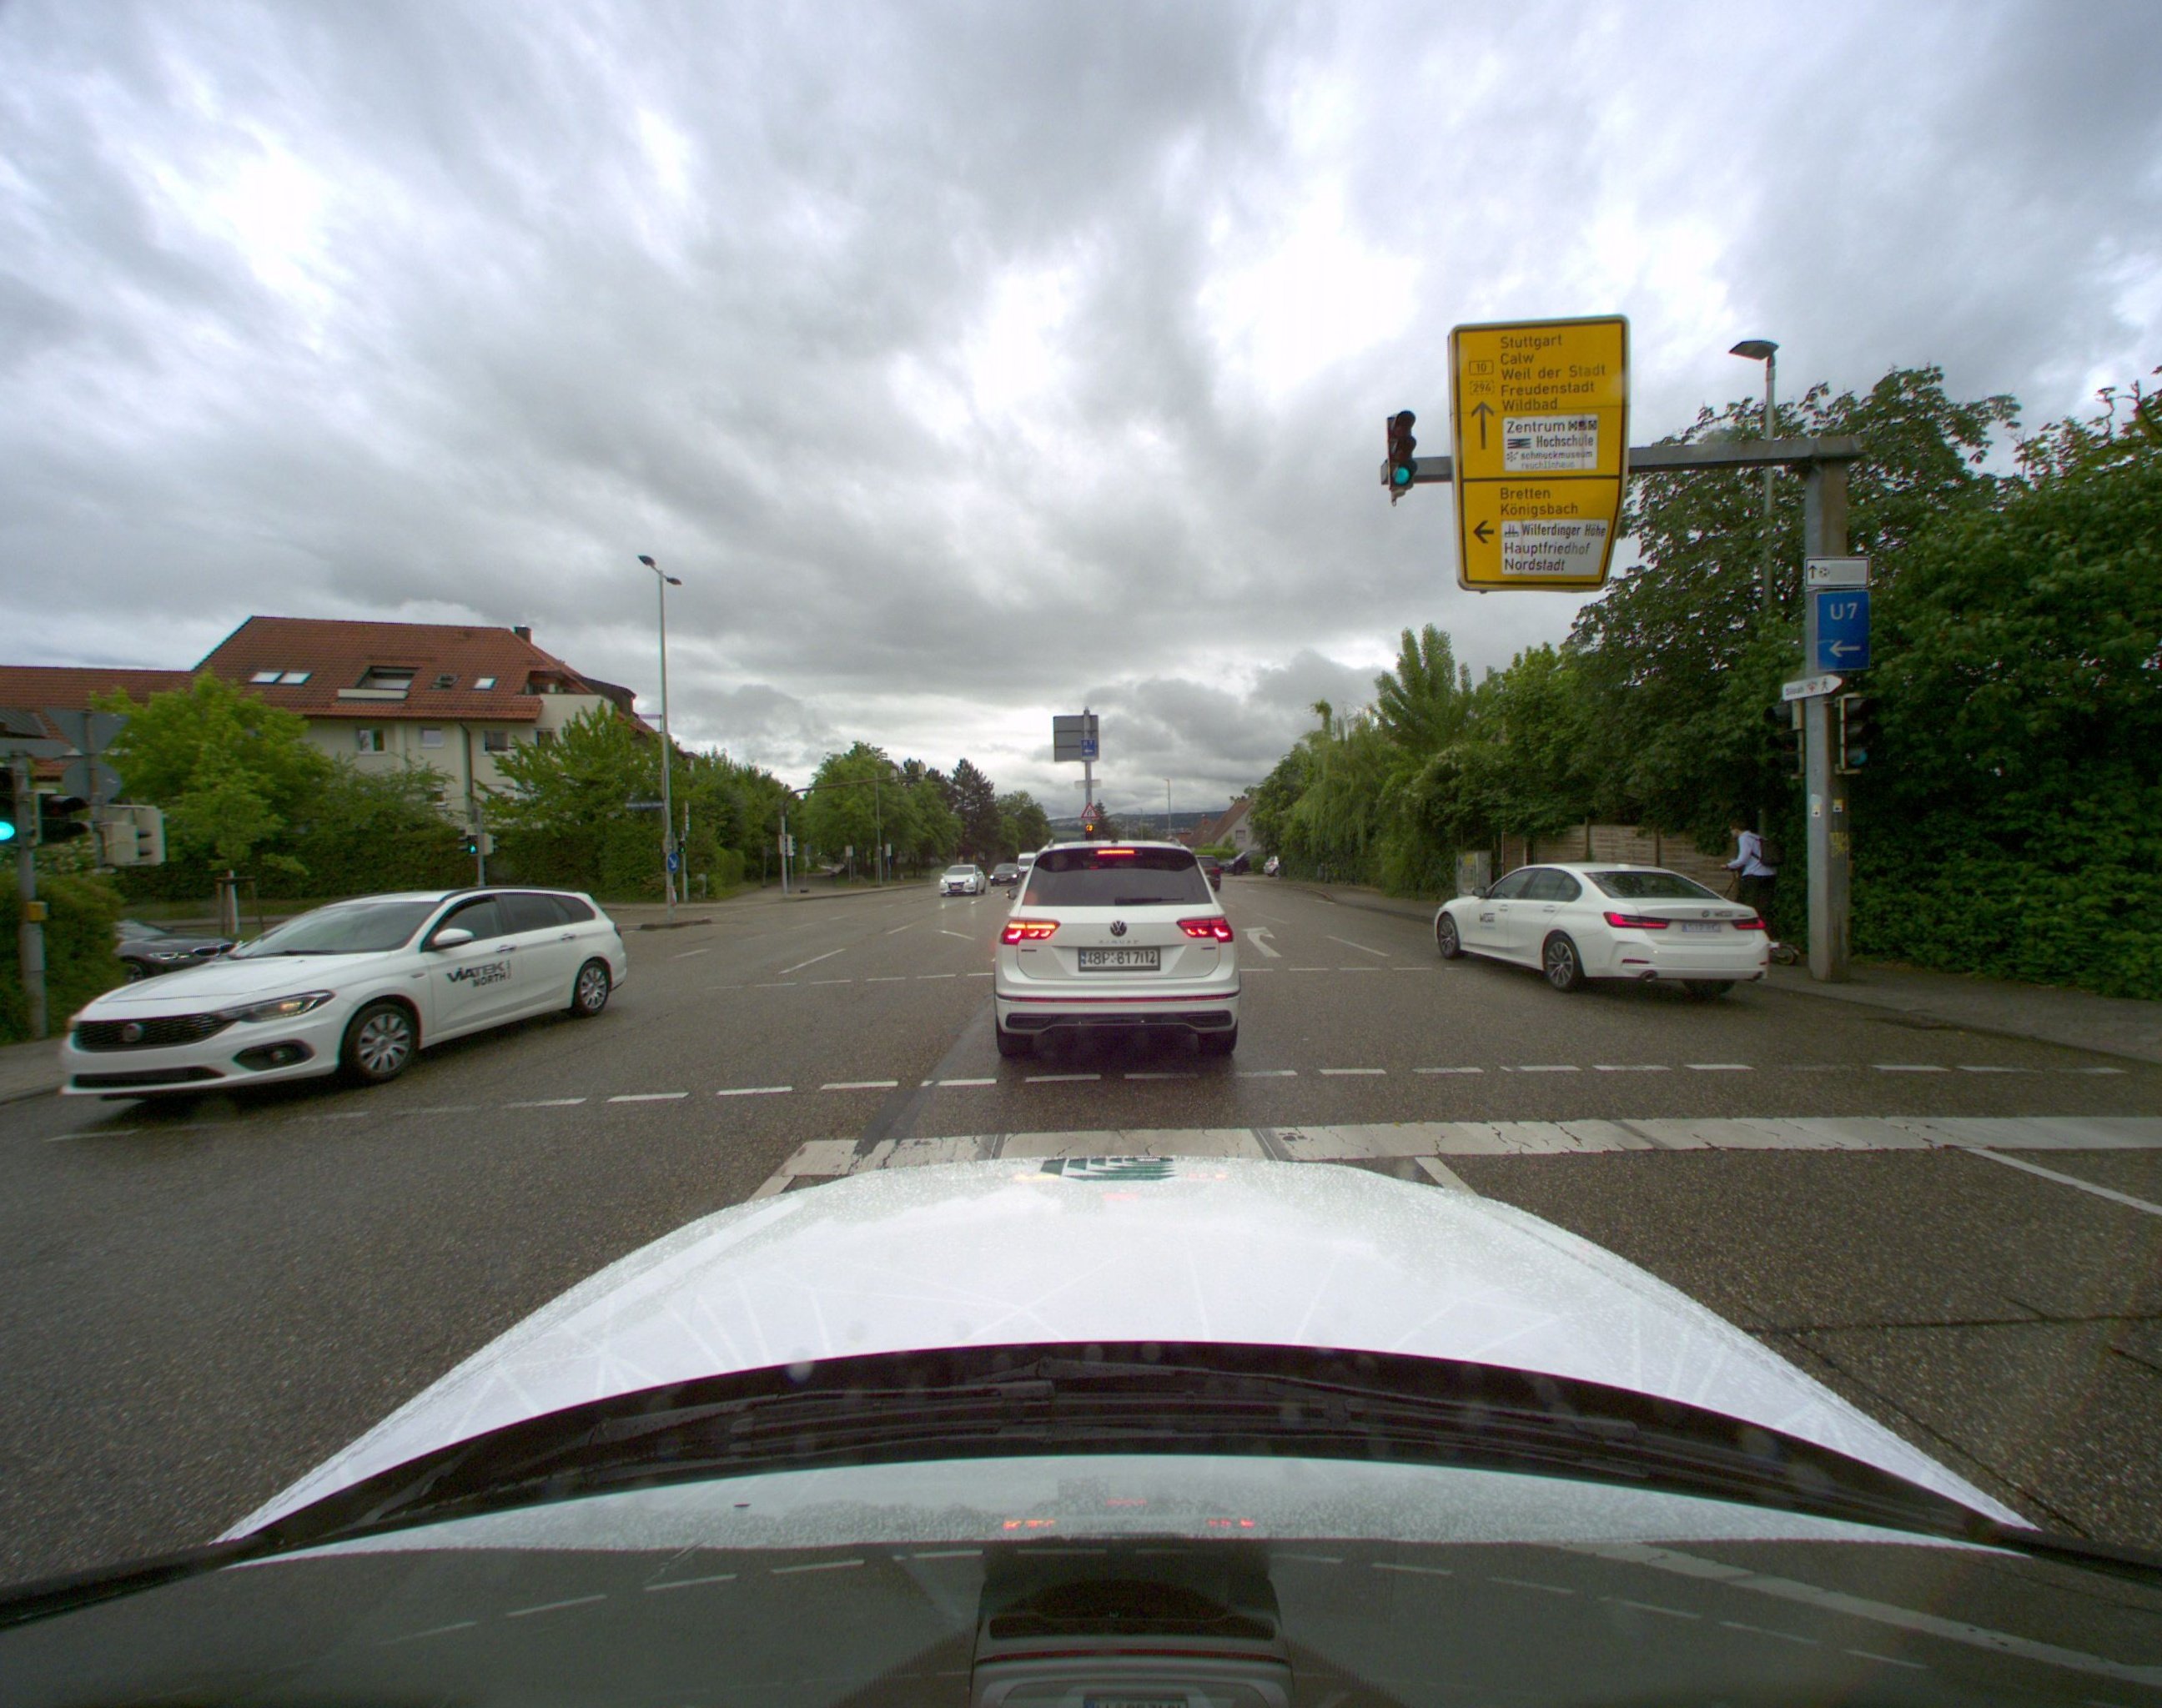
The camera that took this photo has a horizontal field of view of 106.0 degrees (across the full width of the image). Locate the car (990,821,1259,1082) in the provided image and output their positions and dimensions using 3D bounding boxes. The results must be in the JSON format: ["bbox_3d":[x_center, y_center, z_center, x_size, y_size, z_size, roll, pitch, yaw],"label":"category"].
[{"bbox_3d":[0.329,0.646,7.503,1.756,1.696,4.273,1,0,1],"label":"car"}]

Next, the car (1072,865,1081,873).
[{"bbox_3d":[-1.061,3.533,195.103,1.986,1.728,4.001,0,-1,2],"label":"car"}]

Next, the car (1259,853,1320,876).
[{"bbox_3d":[14.354,0.741,56.237,3.709,1.395,1.725,-2,-1,-6],"label":"car"}]

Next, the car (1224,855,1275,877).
[{"bbox_3d":[13.230,0.911,64.176,3.618,1.626,1.790,-1,1,-3],"label":"car"}]

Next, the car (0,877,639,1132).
[{"bbox_3d":[-6.333,1.070,7.592,1.961,1.454,4.309,-3,0,1],"label":"car"}]

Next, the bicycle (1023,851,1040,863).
[{"bbox_3d":[-4.848,0.291,79.839,1.631,1.126,0.468,-3,0,0],"label":"bicycle"}]

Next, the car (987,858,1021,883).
[{"bbox_3d":[-5.166,1.113,55.175,1.770,1.502,4.472,-3,0,1],"label":"car"}]

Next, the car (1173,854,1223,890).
[{"bbox_3d":[5.364,0.783,37.862,1.730,1.575,4.067,0,0,0],"label":"car"}]

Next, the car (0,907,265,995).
[{"bbox_3d":[-19.931,1.965,16.661,4.412,1.393,1.774,-3,0,-4],"label":"car"}]

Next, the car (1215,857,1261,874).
[{"bbox_3d":[13.301,0.958,69.082,3.675,1.370,1.518,-1,-2,0],"label":"car"}]

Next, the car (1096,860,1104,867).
[{"bbox_3d":[4.631,2.307,200.370,1.843,1.574,4.002,-2,0,2],"label":"car"}]

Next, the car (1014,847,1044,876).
[{"bbox_3d":[-4.831,0.699,76.724,2.290,2.528,5.773,-2,0,0],"label":"car"}]

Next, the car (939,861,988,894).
[{"bbox_3d":[-5.601,1.095,39.154,1.740,1.397,3.801,-1,0,0],"label":"car"}]

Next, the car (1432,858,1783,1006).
[{"bbox_3d":[6.132,0.784,10.195,1.659,1.427,4.305,0,0,0],"label":"car"}]

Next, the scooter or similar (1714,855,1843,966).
[{"bbox_3d":[9.186,0.704,10.789,0.460,1.361,1.384,-1,0,-2],"label":"scooter or similar"}]

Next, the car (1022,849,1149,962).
[{"bbox_3d":[0.144,0.734,13.559,1.791,1.589,3.928,-1,0,2],"label":"car"}]

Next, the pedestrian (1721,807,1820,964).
[{"bbox_3d":[9.154,0.407,10.833,0.654,2.002,0.717,-1,-1,-2],"label":"pedestrian"}]

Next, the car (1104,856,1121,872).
[{"bbox_3d":[3.459,1.110,90.736,1.706,1.758,3.802,-1,0,1],"label":"car"}]

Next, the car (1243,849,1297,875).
[{"bbox_3d":[14.306,0.593,61.776,3.618,1.746,1.707,-1,2,-2],"label":"car"}]

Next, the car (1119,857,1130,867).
[{"bbox_3d":[7.830,1.442,145.810,1.843,1.574,4.002,-2,0,2],"label":"car"}]
